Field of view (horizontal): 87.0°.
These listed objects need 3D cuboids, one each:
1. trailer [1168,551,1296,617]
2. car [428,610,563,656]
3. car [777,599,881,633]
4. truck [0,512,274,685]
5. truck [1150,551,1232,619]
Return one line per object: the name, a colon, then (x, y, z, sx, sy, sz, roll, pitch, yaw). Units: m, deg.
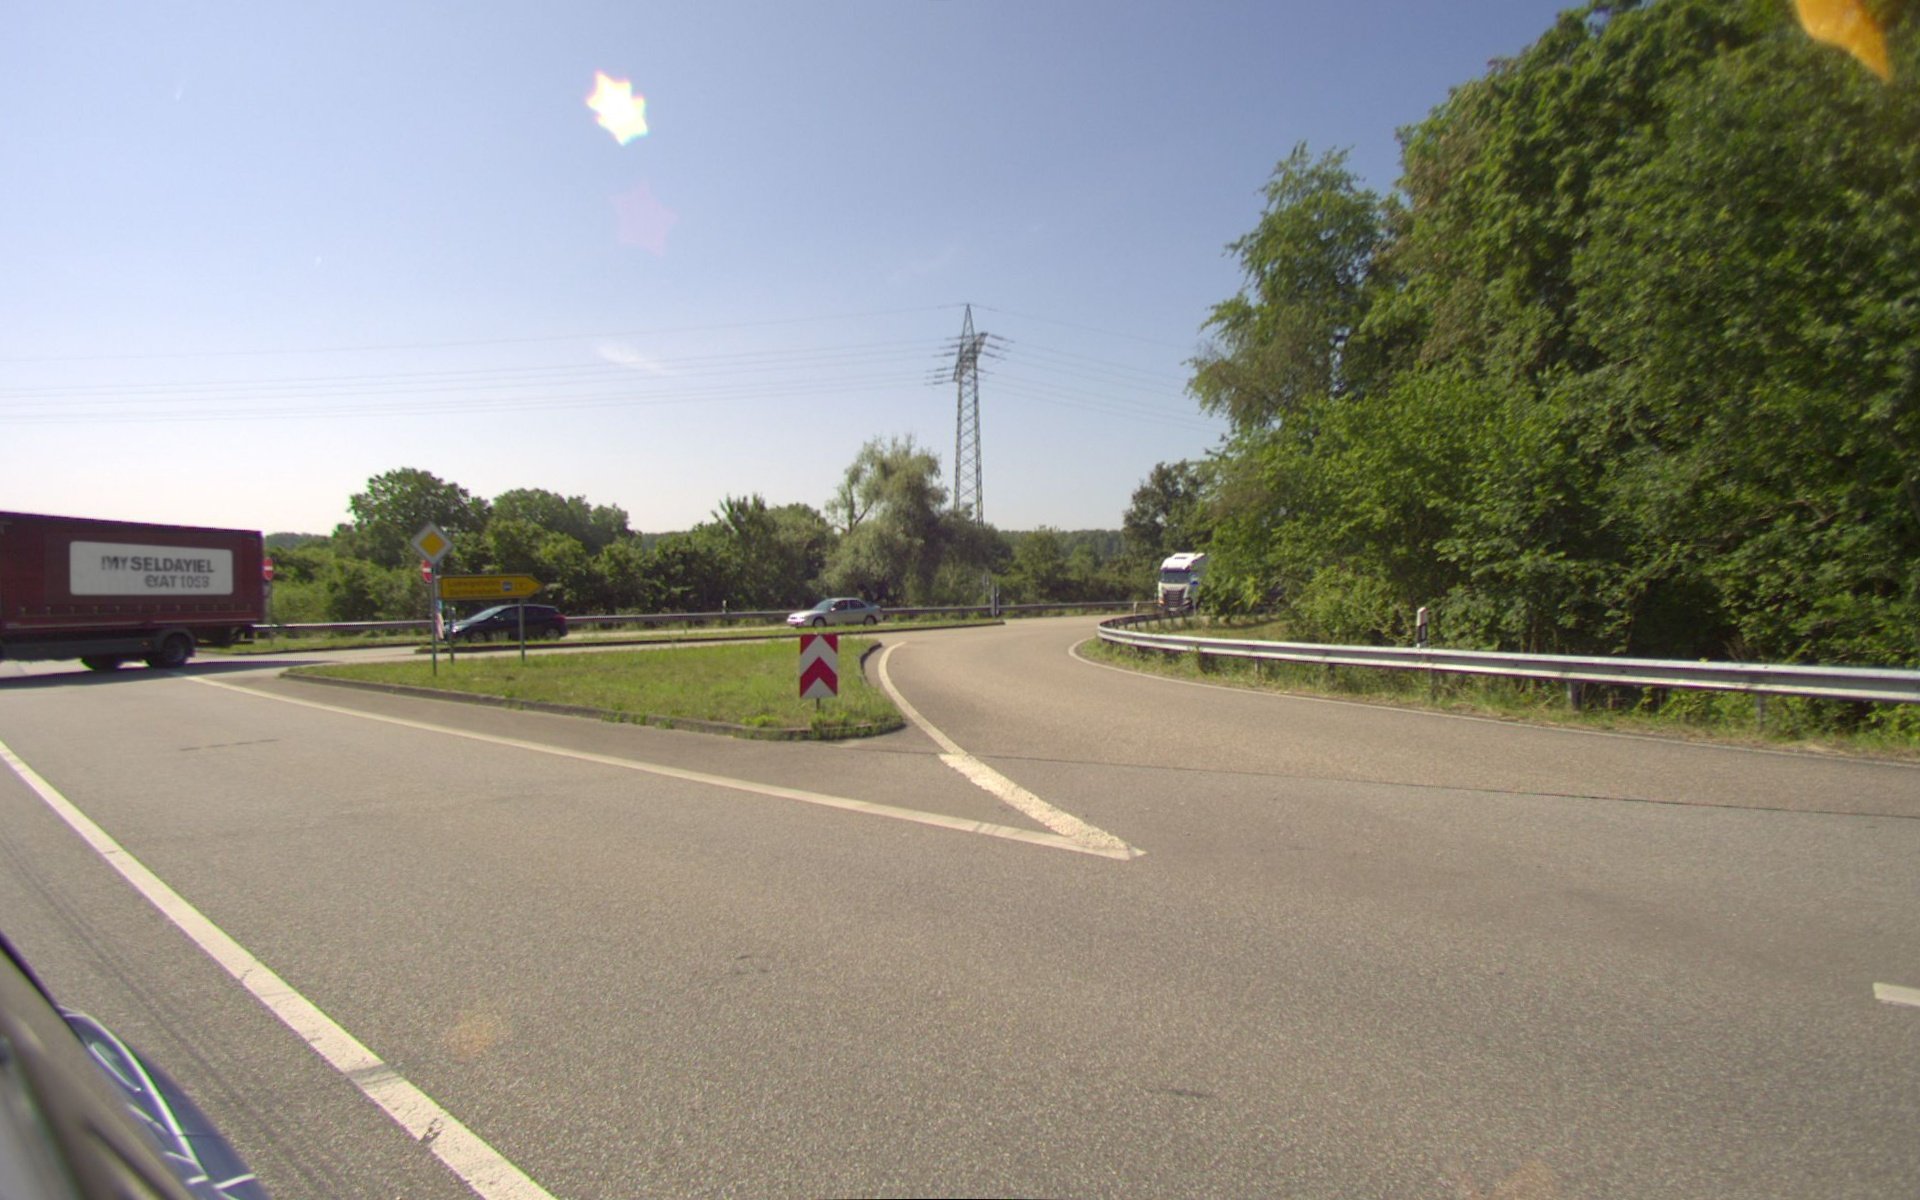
trailer: (19.482, -1.150, 71.585, 2.930, 4.271, 13.789, 2, 2, 41)
car: (-16.260, 1.104, 35.521, 3.940, 1.425, 1.790, -1, 0, -44)
car: (-5.837, 0.705, 45.334, 4.307, 1.395, 1.792, -1, 0, -37)
truck: (-21.478, -0.026, 24.394, 2.660, 3.689, 9.240, -1, 0, 8)
truck: (15.293, -1.034, 66.812, 2.940, 4.269, 5.654, 2, 2, 41)
